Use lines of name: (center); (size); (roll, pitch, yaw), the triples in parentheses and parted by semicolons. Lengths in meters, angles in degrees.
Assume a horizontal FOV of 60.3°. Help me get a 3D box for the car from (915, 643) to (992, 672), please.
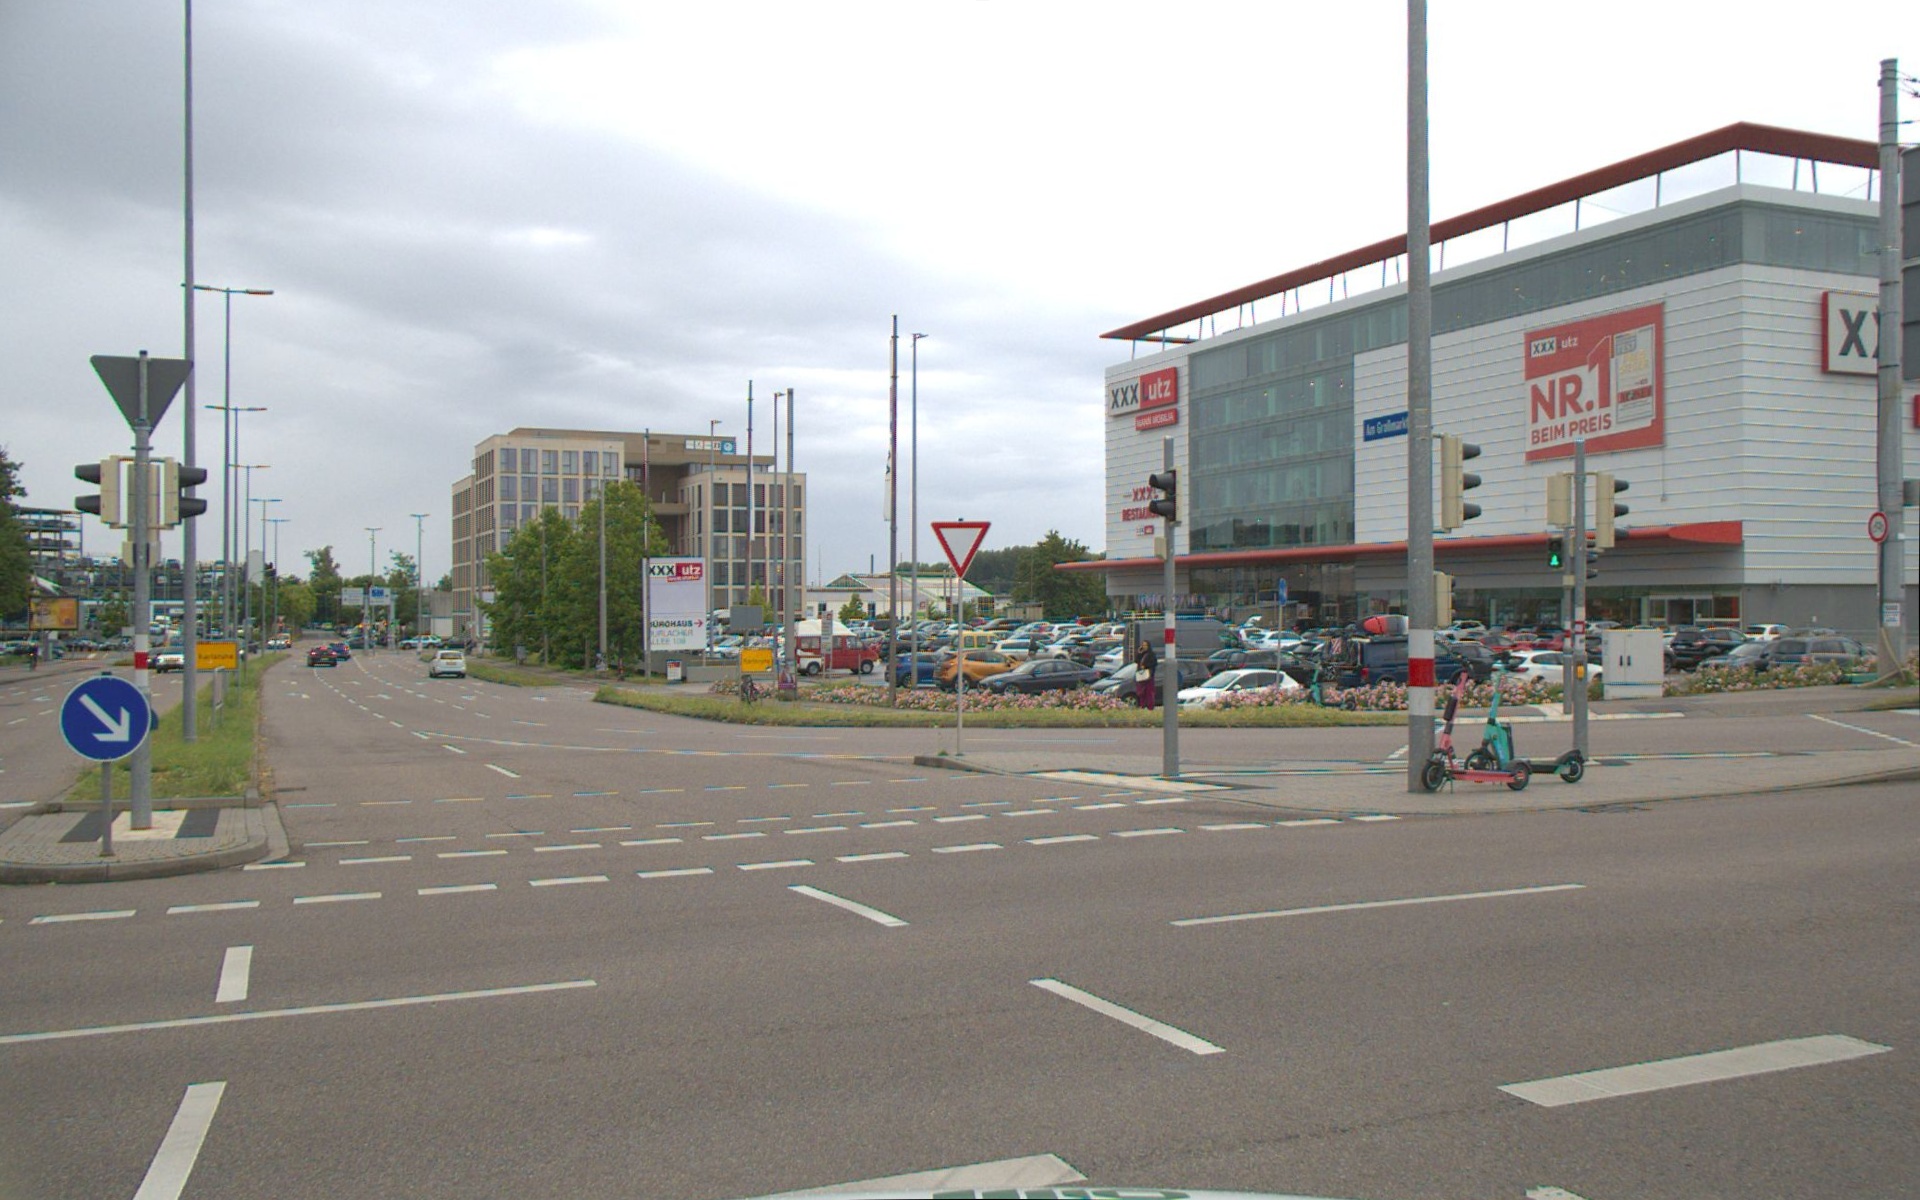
car: (-0.374, 3.204, 92.014); (3.934, 1.561, 1.875); (0, -1, -24)

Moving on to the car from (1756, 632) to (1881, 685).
car: (29.681, 1.994, 57.169); (3.938, 1.695, 1.870); (0, -1, -26)

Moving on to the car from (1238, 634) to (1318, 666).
car: (17.070, 2.672, 88.798); (3.936, 1.684, 1.820); (0, -2, -25)

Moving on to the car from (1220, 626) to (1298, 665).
car: (16.556, 2.490, 91.543); (3.937, 2.092, 1.899); (0, 0, -26)

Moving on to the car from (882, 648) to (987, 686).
car: (-1.034, 2.717, 67.802); (3.931, 1.481, 1.802); (0, -2, -22)

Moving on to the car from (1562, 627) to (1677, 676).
car: (26.492, 2.031, 66.459); (4.149, 1.812, 1.853); (-1, -1, -21)

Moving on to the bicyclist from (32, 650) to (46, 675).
bicyclist: (-59.849, 4.040, 107.462); (0.631, 1.605, 0.993); (2, -2, -23)

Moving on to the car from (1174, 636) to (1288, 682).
car: (10.579, 2.280, 64.549); (3.932, 1.596, 1.986); (-1, -1, -23)

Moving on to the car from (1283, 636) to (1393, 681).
car: (15.274, 2.356, 66.850); (3.931, 1.699, 1.873); (-1, -1, -22)

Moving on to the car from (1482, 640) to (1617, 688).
car: (19.759, 2.119, 55.465); (4.138, 1.502, 1.734); (-1, -2, -22)

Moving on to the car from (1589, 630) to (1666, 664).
car: (34.631, 2.444, 85.841); (3.554, 1.587, 1.640); (-2, 0, -22)

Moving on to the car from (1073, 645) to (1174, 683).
car: (7.050, 2.736, 71.376); (3.930, 1.579, 1.851); (0, -2, -22)

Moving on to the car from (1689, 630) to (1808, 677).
car: (28.392, 1.921, 59.568); (3.939, 1.543, 1.817); (-1, -1, -27)

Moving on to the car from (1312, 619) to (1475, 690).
car: (14.646, 1.824, 55.878); (4.958, 2.203, 2.111); (-1, -1, -19)

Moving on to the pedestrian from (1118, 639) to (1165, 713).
pedestrian: (4.074, 1.699, 37.121); (0.702, 1.625, 0.781); (-4, -4, 34)

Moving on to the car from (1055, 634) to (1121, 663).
car: (8.456, 3.169, 109.467); (3.926, 1.780, 1.885); (-1, -1, -19)

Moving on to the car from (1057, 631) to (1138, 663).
car: (7.248, 2.479, 87.369); (3.930, 1.663, 1.775); (0, -2, -21)

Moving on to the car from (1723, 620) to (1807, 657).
car: (38.276, 1.814, 78.677); (3.554, 1.587, 1.640); (-2, 0, -22)

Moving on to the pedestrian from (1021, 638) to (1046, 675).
pedestrian: (3.575, 2.739, 80.526); (0.927, 1.749, 0.879); (0, 1, -24)

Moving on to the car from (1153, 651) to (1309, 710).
car: (7.661, 2.253, 46.749); (4.053, 1.471, 1.861); (0, 1, -25)

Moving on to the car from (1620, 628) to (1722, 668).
car: (30.550, 2.047, 71.051); (3.930, 1.558, 1.767); (-1, -1, -22)

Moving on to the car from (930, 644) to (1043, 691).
car: (1.005, 2.566, 63.314); (3.926, 1.672, 1.805); (0, -2, -19)

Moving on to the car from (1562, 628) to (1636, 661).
car: (34.205, 2.381, 88.555); (3.554, 1.587, 1.640); (-2, 0, -22)

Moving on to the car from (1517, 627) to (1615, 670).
car: (27.684, 2.208, 75.574); (3.930, 1.850, 1.809); (-1, -2, -21)

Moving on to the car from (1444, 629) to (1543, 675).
car: (23.643, 2.268, 73.285); (3.932, 1.894, 1.820); (-1, -1, -23)

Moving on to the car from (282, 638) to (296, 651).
car: (-85.055, 5.626, 209.599); (1.578, 1.479, 3.303); (0, 1, -21)

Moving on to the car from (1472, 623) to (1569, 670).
car: (26.301, 2.151, 77.607); (3.931, 2.049, 1.987); (-1, -1, -22)

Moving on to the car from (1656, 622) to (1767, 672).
car: (31.142, 1.945, 68.545); (3.929, 1.963, 1.938); (-1, -2, -21)

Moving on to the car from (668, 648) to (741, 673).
car: (-15.592, 3.658, 100.904); (4.098, 1.374, 1.796); (0, 1, -24)

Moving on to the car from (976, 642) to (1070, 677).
car: (3.139, 2.947, 82.511); (4.349, 1.611, 1.822); (0, 1, -22)

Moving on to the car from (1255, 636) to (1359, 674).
car: (14.553, 2.293, 69.426); (3.931, 1.583, 1.842); (0, -2, -22)

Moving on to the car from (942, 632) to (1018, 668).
car: (1.044, 2.641, 87.533); (3.683, 1.799, 1.722); (0, 1, -22)
